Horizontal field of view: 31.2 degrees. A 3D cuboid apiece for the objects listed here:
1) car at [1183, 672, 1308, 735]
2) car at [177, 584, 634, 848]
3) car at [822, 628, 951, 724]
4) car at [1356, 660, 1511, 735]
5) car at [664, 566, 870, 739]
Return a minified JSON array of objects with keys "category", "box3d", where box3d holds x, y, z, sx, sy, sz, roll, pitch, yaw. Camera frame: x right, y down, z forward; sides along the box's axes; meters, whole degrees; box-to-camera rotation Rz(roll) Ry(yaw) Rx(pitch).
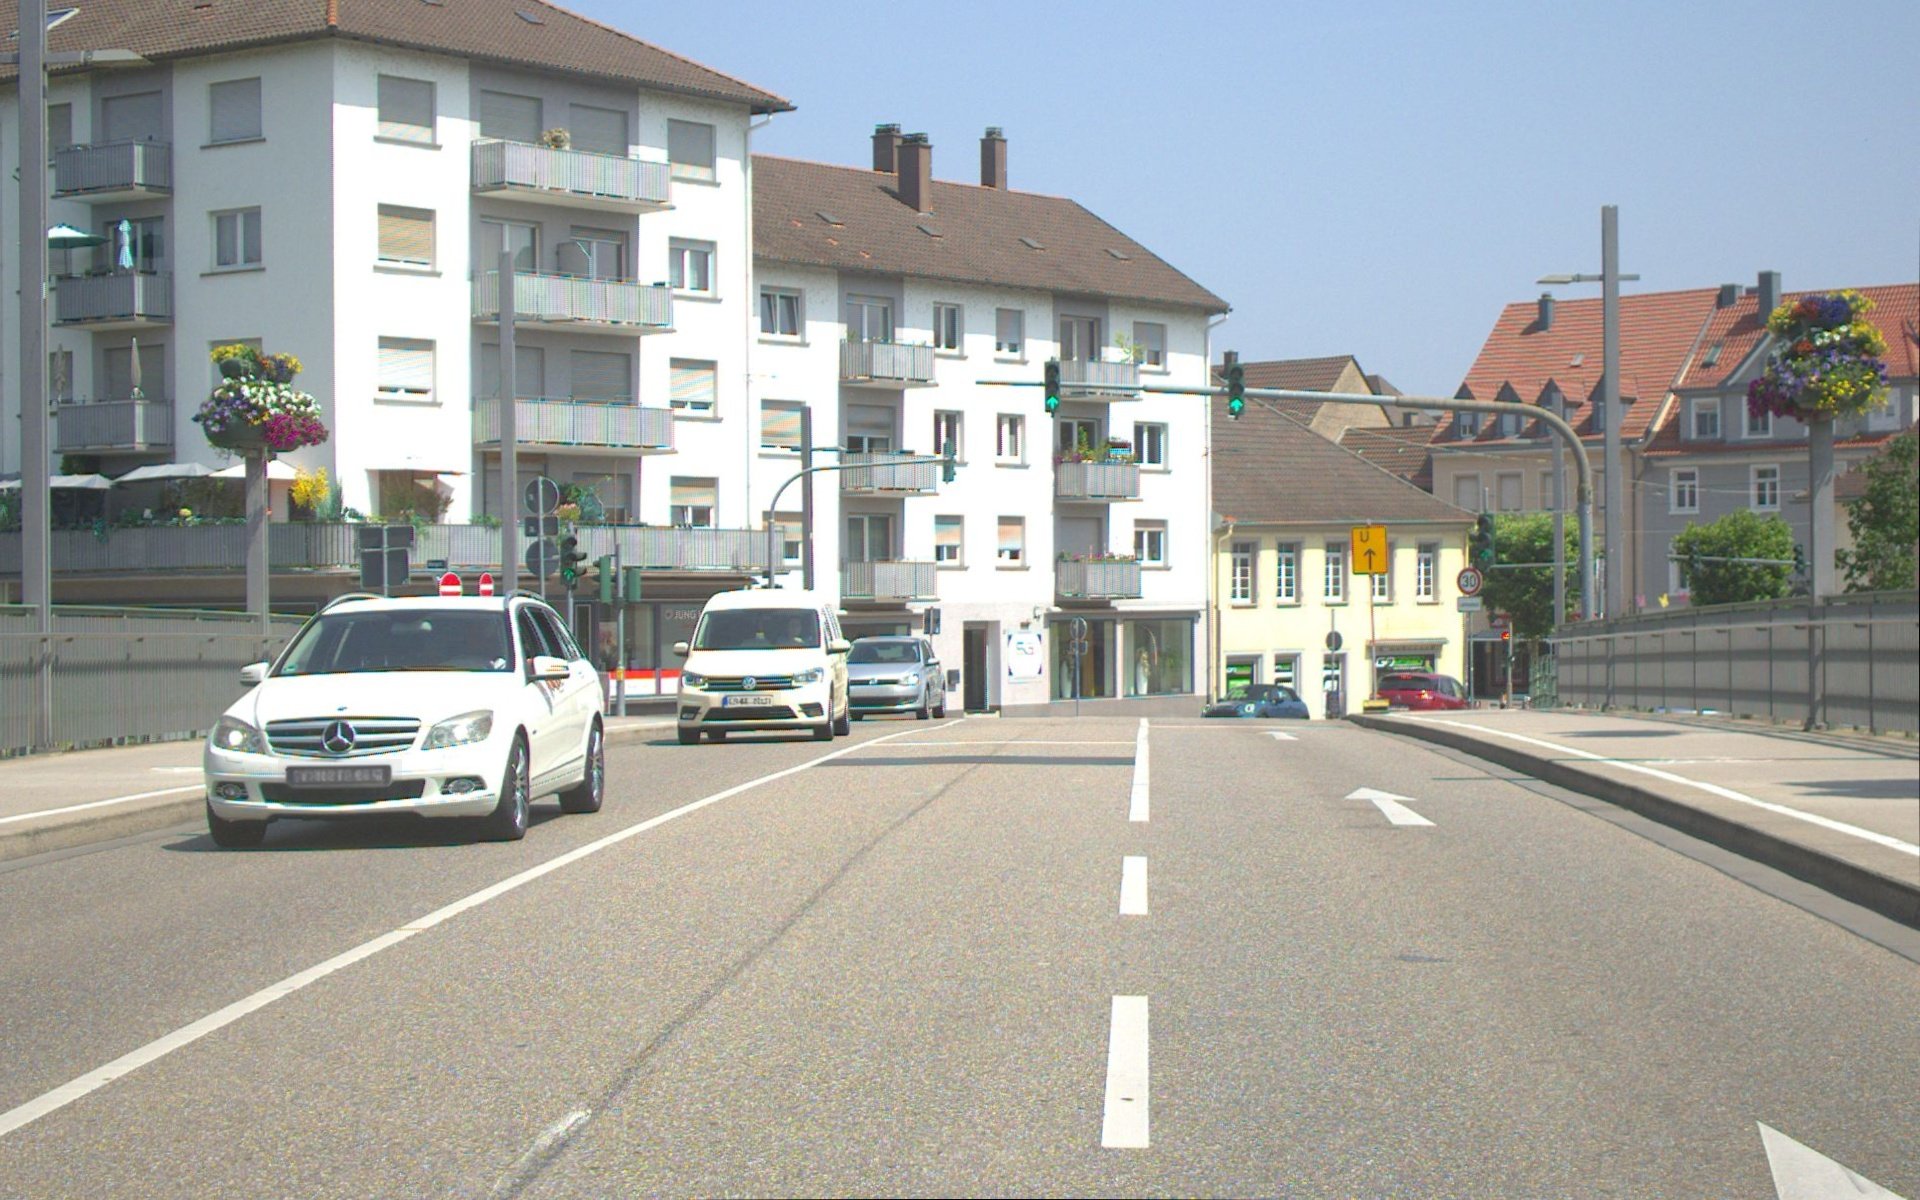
[{"category":"car","box3d":[7.547,2.716,90.679,1.660,1.435,3.748,-4,-1,33]},{"category":"car","box3d":[-3.274,0.639,21.256,1.844,1.427,4.713,-1,0,3]},{"category":"car","box3d":[-1.222,1.270,58.744,1.760,1.514,3.999,-2,0,5]},{"category":"car","box3d":[11.456,2.323,83.008,1.994,1.607,4.334,-1,1,34]},{"category":"car","box3d":[-2.222,0.624,40.776,1.759,1.851,4.645,-3,-1,4]}]
